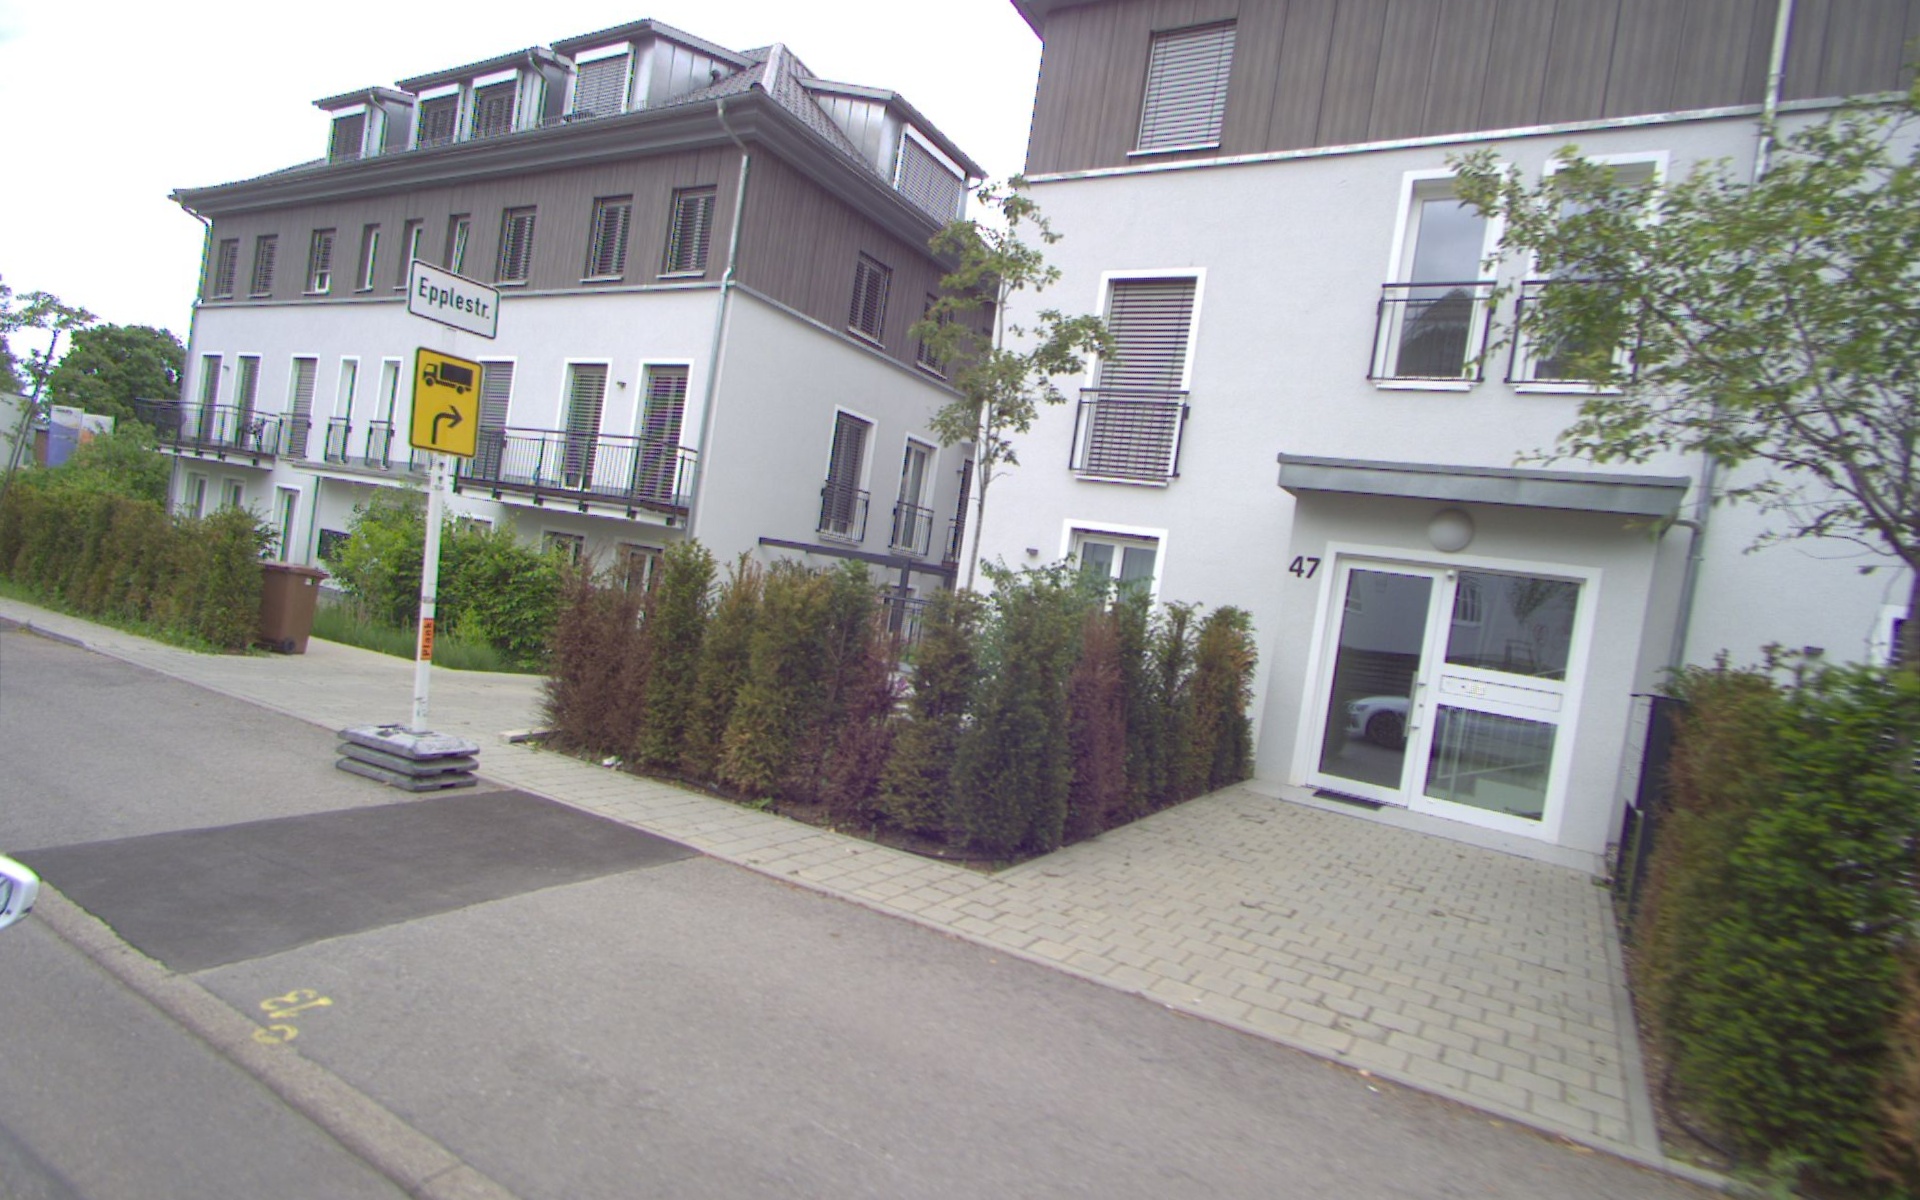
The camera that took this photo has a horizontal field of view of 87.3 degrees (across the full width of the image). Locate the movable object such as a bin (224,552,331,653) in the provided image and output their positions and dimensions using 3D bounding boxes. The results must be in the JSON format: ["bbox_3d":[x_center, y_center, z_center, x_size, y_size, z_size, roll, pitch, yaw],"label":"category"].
[{"bbox_3d":[-8.121,0.043,11.995,0.670,1.085,0.716,7,-2,-5],"label":"movable object such as a bin"}]
